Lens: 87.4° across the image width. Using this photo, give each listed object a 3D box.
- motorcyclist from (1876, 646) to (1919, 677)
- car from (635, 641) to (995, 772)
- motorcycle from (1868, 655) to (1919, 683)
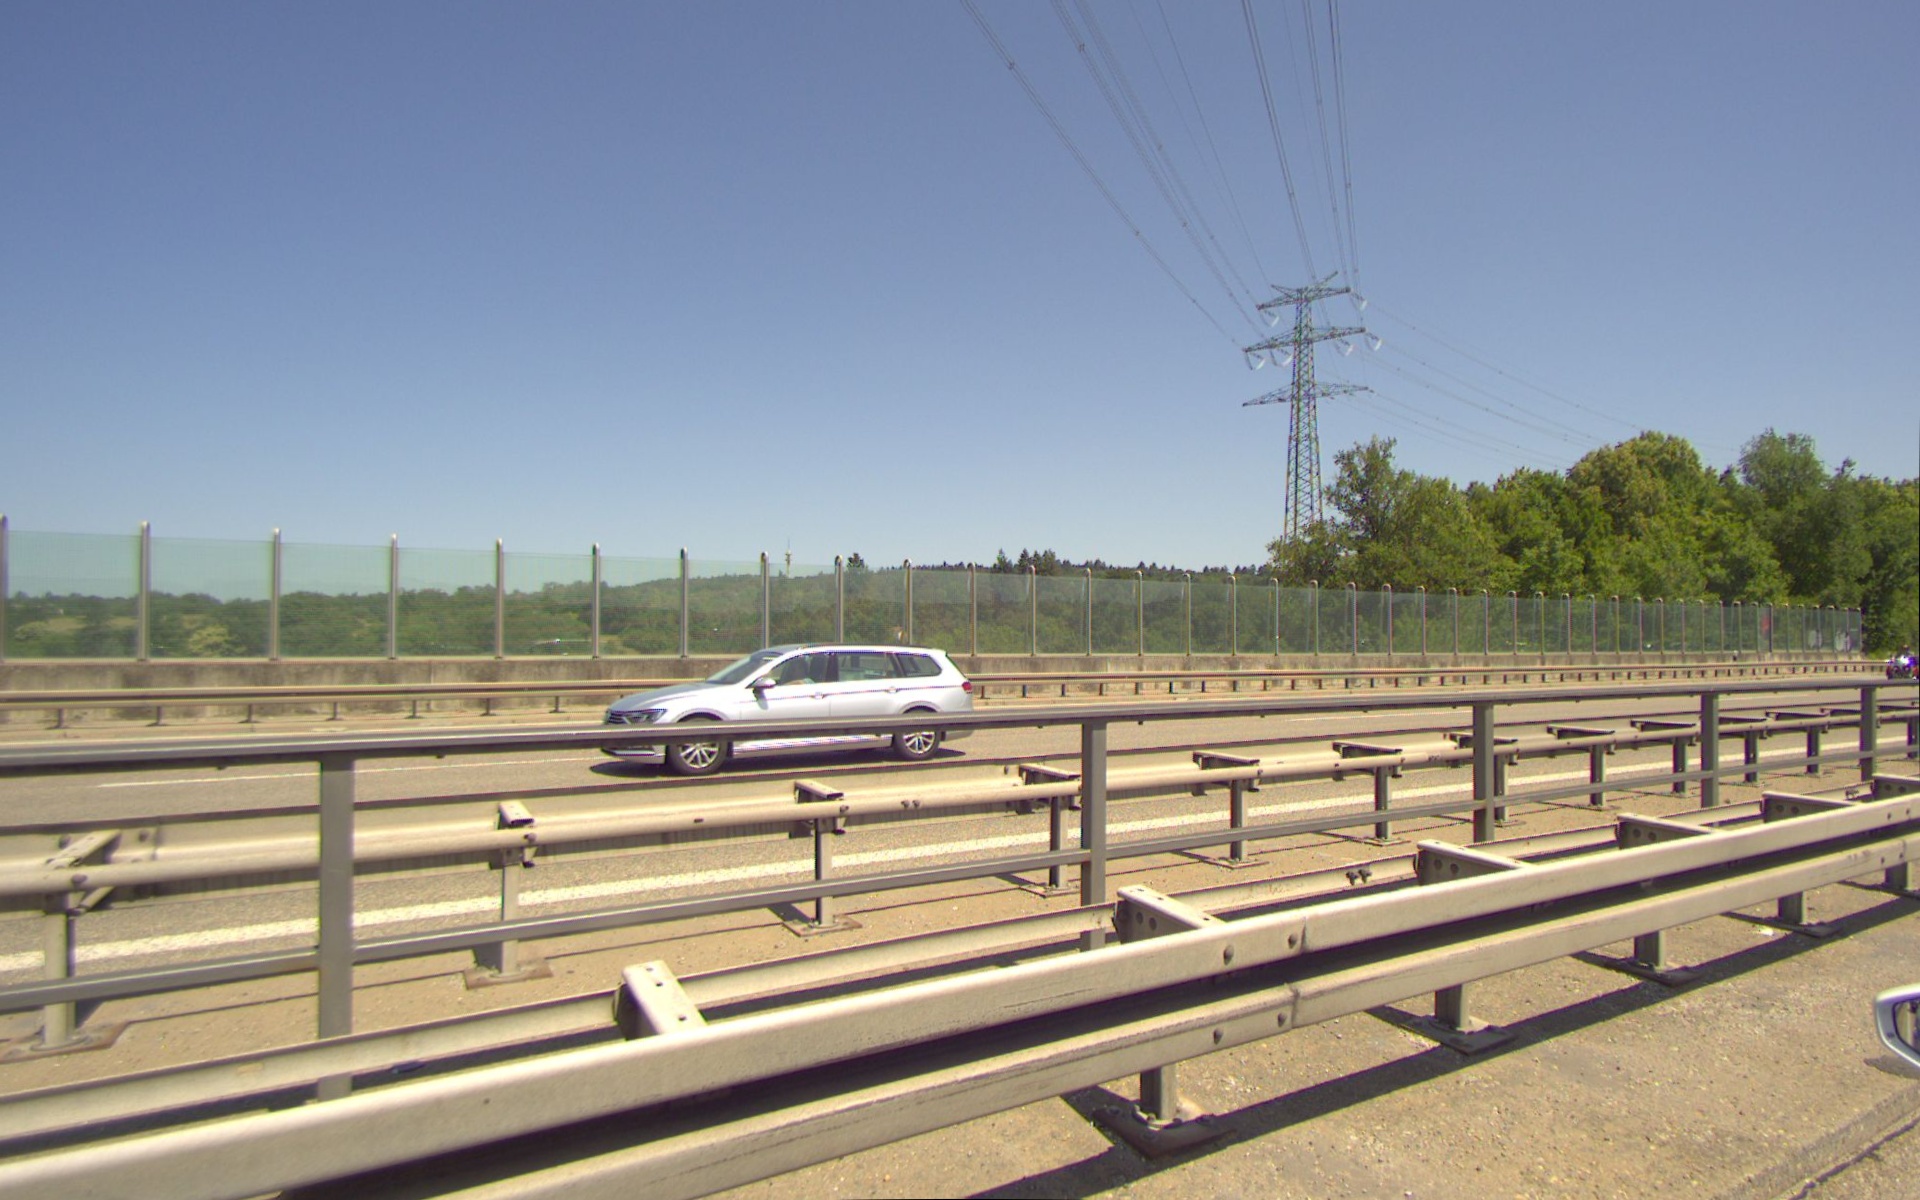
[{"bbox_3d":[38.626,2.525,41.269,1.106,1.273,1.181,1,-3,-30],"label":"motorcyclist"},{"bbox_3d":[-1.789,1.262,12.729,4.117,1.412,1.902,2,-4,-30],"label":"car"},{"bbox_3d":[38.723,2.828,41.298,2.546,1.113,1.360,1,-4,-31],"label":"motorcycle"}]
